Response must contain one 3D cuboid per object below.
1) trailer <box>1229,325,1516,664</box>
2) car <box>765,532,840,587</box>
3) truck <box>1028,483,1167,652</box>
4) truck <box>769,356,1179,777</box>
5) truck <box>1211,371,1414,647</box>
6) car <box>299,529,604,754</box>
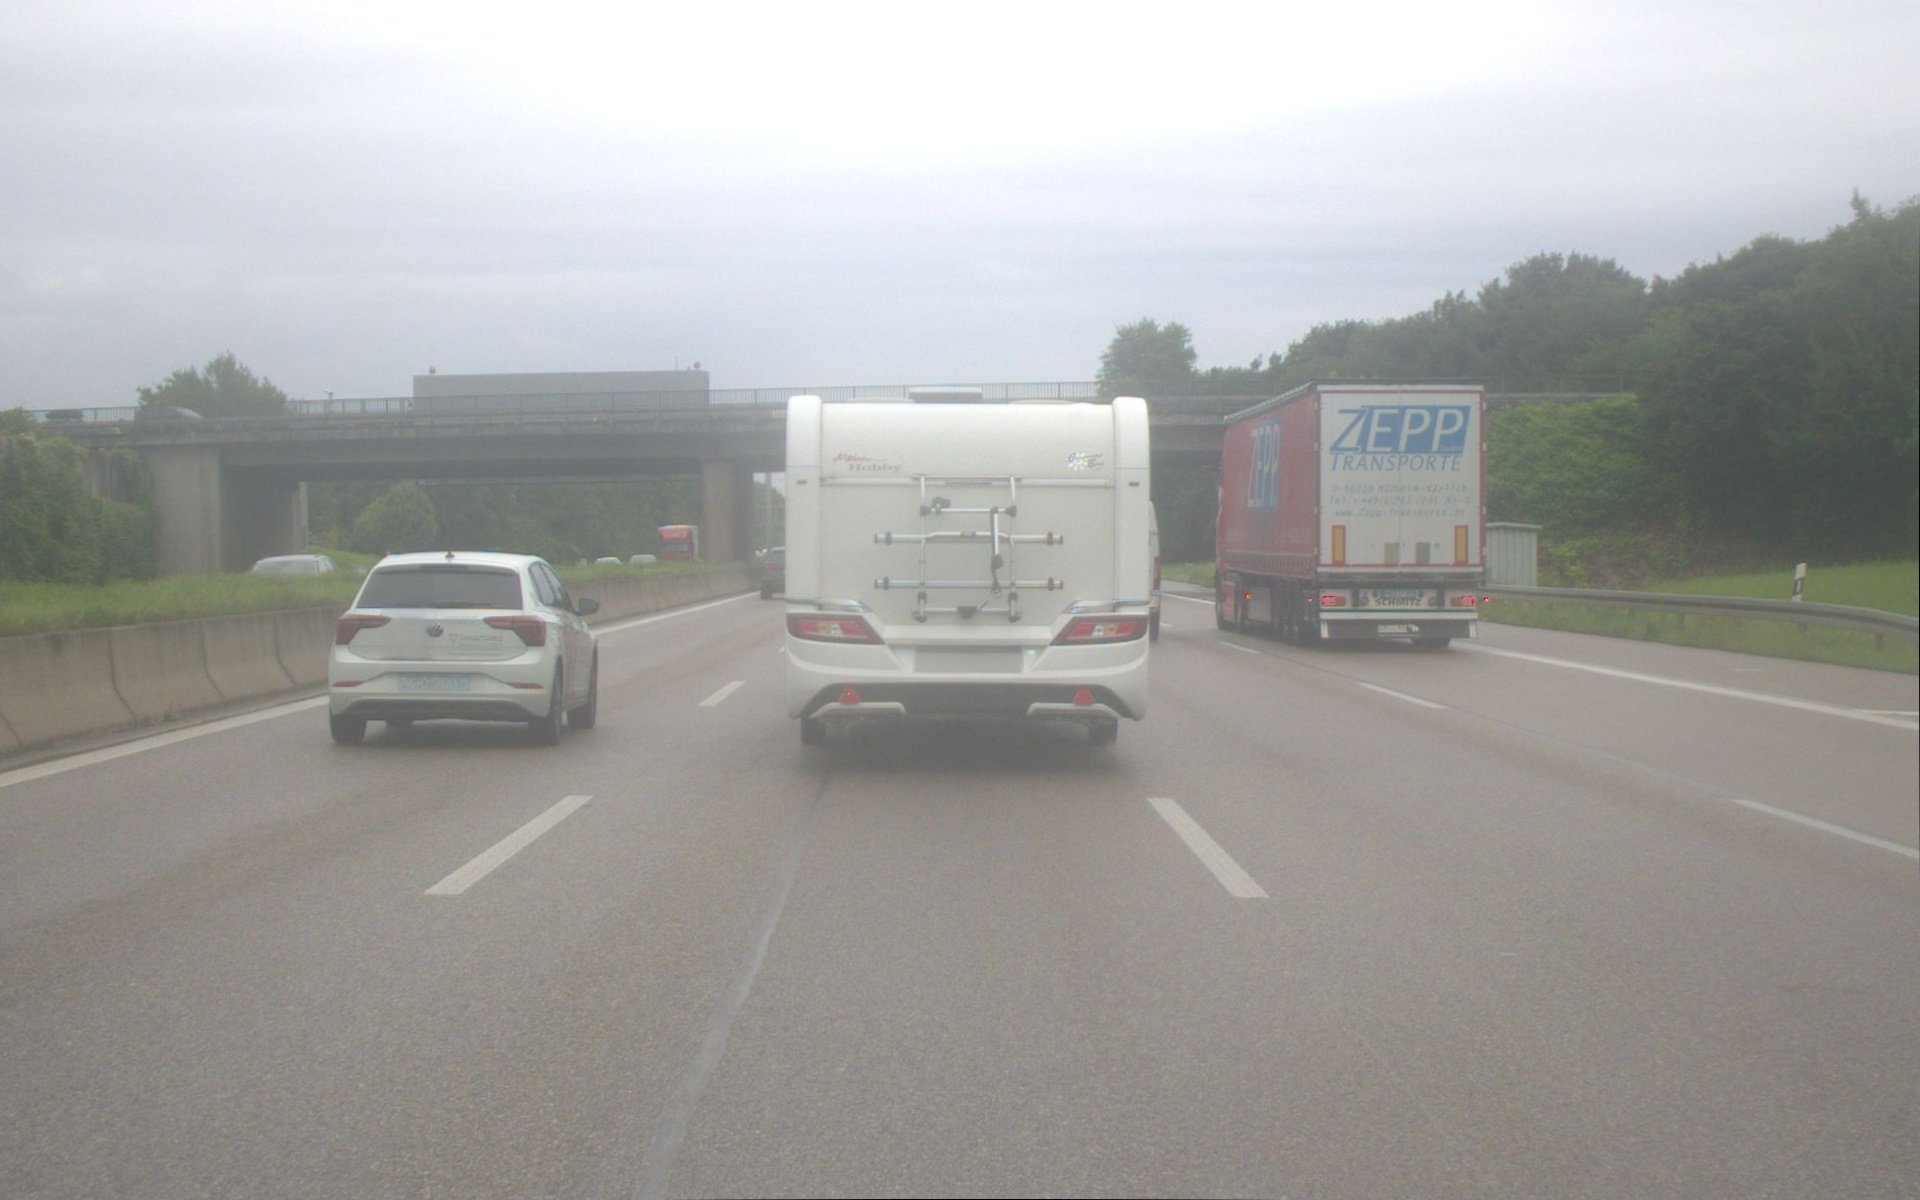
[{"bbox_3d":[6.484,-1.603,56.053,3.100,4.905,11.791,1,1,0],"label":"trailer"},{"bbox_3d":[-4.806,-1.236,105.513,1.993,1.594,5.123,1,1,1],"label":"car"},{"bbox_3d":[2.330,-0.561,59.627,2.053,2.760,5.549,1,1,-1],"label":"truck"},{"bbox_3d":[0.055,-0.245,25.147,2.661,2.733,5.078,1,1,-1],"label":"truck"},{"bbox_3d":[6.424,-1.638,63.511,3.048,4.823,5.850,1,0,0],"label":"truck"},{"bbox_3d":[-3.893,0.257,27.029,1.753,1.612,4.664,0,1,-1],"label":"car"}]
